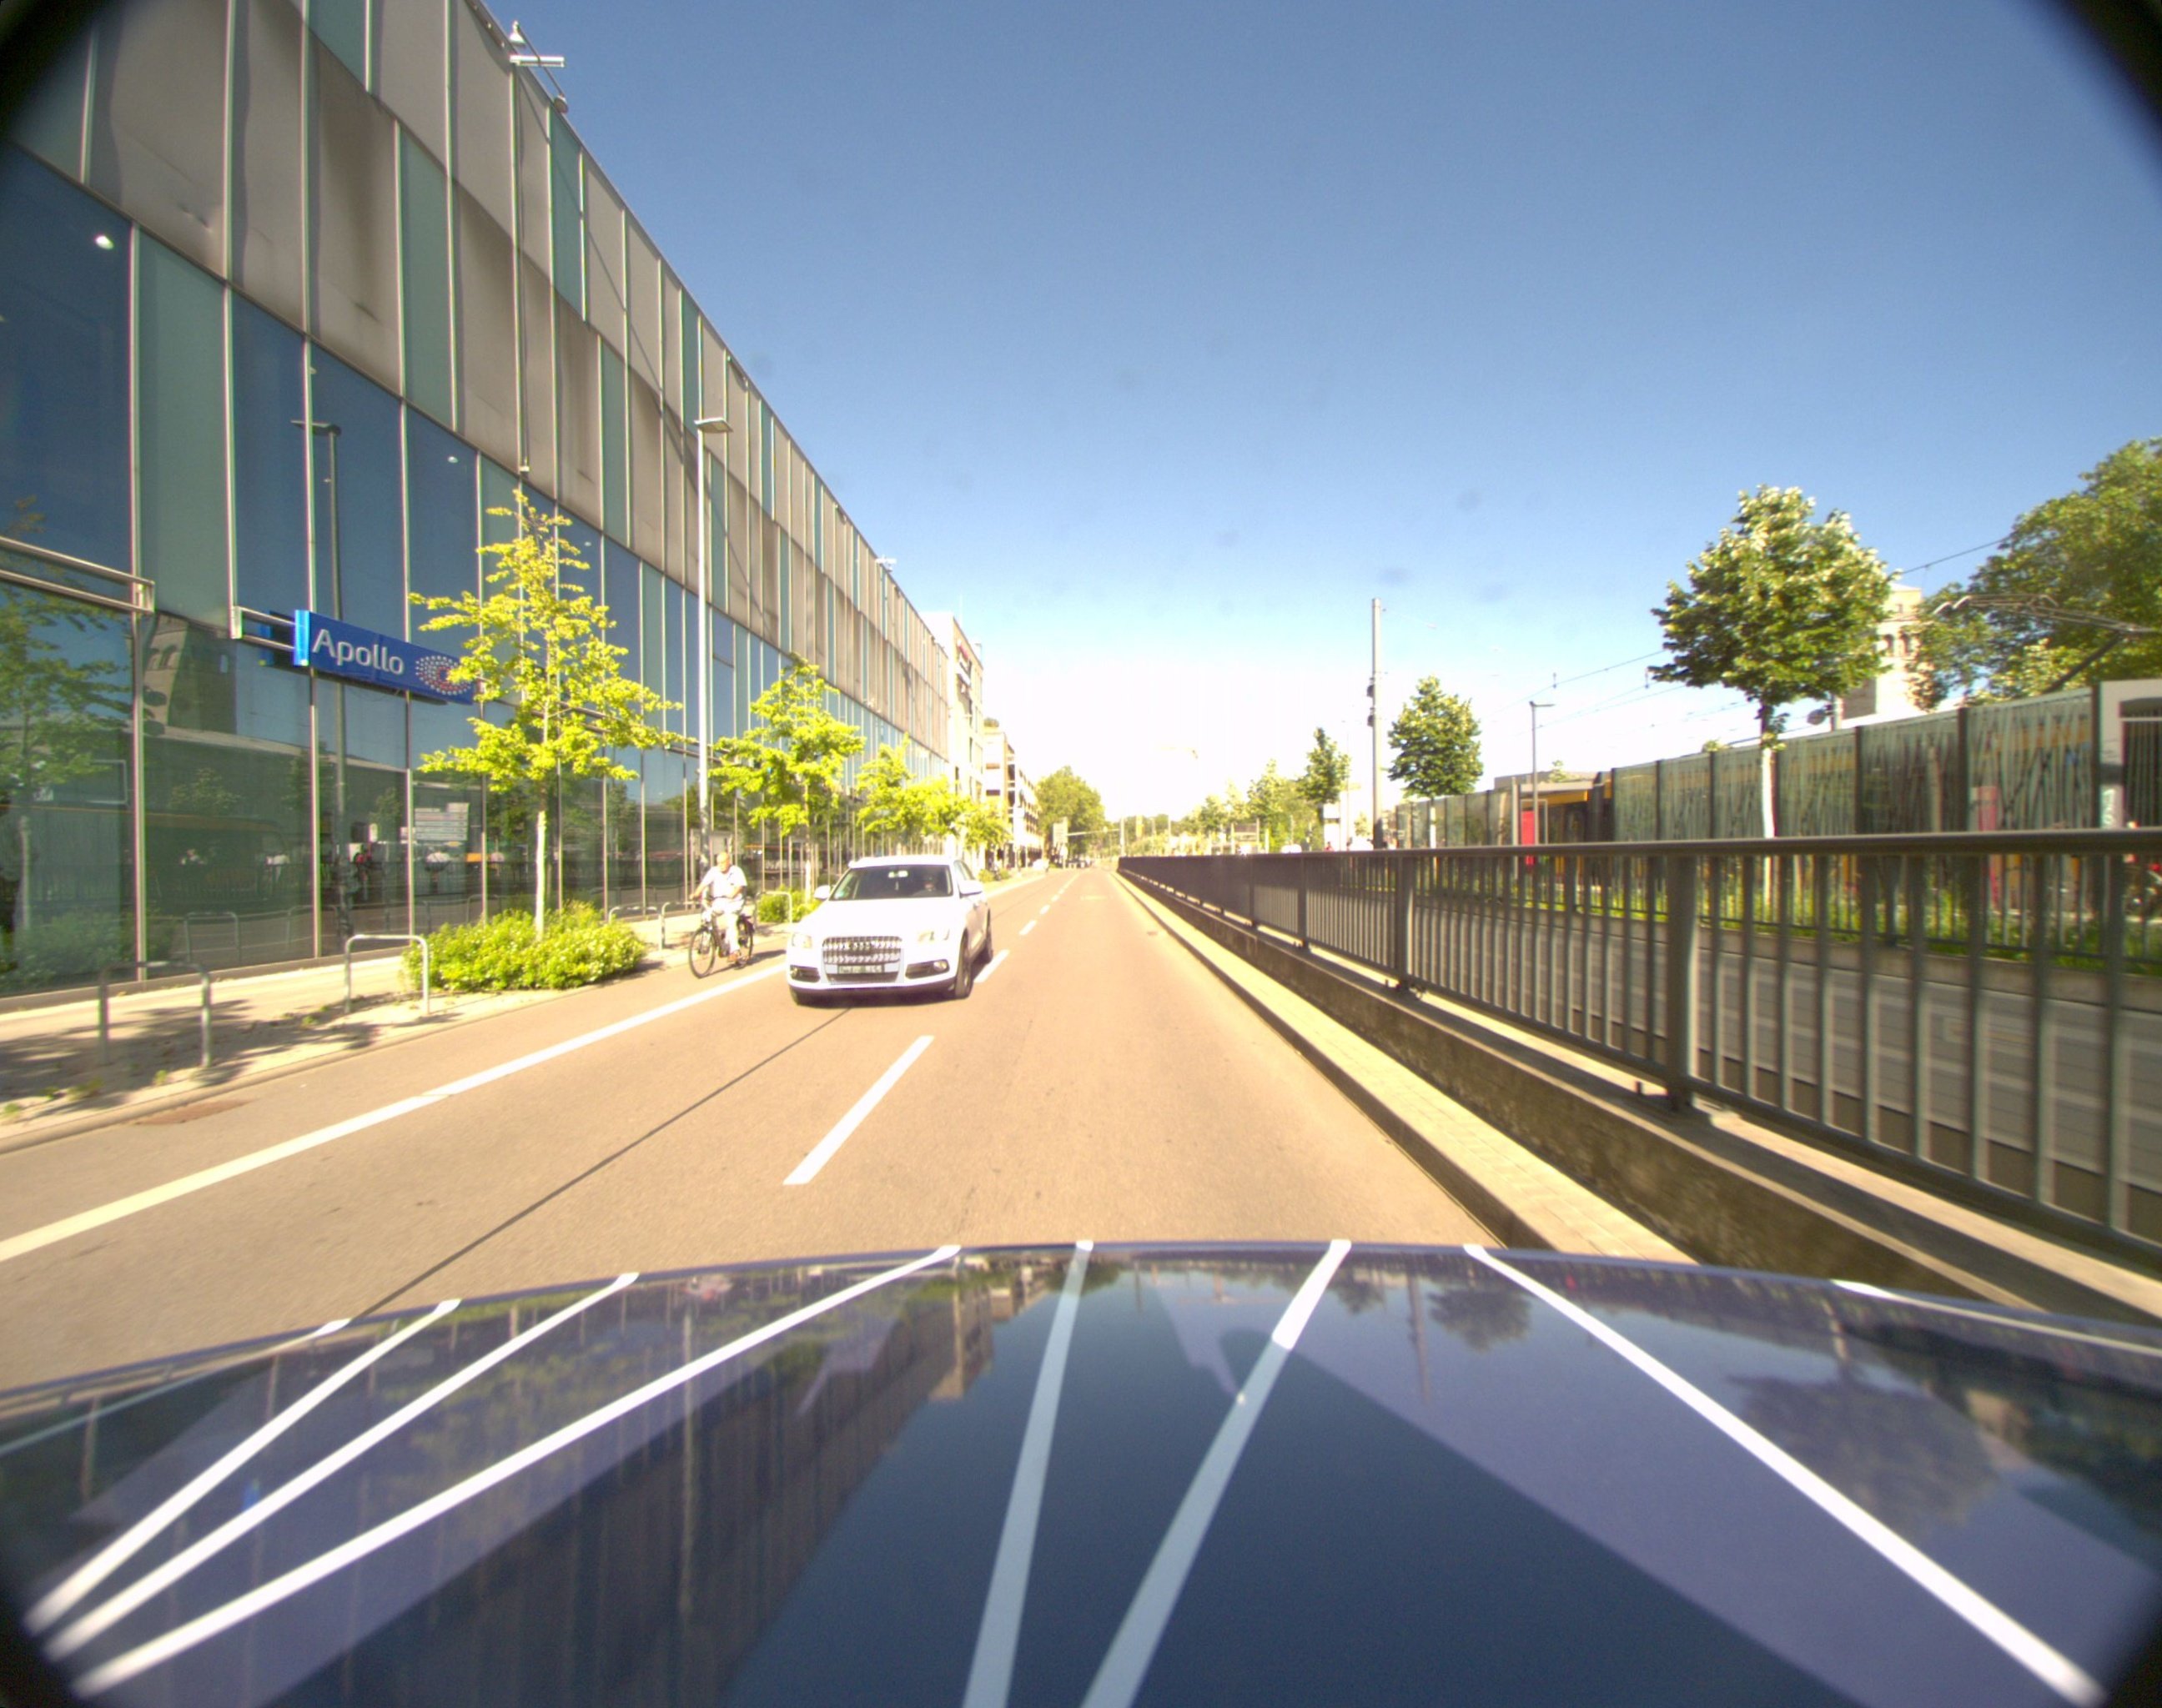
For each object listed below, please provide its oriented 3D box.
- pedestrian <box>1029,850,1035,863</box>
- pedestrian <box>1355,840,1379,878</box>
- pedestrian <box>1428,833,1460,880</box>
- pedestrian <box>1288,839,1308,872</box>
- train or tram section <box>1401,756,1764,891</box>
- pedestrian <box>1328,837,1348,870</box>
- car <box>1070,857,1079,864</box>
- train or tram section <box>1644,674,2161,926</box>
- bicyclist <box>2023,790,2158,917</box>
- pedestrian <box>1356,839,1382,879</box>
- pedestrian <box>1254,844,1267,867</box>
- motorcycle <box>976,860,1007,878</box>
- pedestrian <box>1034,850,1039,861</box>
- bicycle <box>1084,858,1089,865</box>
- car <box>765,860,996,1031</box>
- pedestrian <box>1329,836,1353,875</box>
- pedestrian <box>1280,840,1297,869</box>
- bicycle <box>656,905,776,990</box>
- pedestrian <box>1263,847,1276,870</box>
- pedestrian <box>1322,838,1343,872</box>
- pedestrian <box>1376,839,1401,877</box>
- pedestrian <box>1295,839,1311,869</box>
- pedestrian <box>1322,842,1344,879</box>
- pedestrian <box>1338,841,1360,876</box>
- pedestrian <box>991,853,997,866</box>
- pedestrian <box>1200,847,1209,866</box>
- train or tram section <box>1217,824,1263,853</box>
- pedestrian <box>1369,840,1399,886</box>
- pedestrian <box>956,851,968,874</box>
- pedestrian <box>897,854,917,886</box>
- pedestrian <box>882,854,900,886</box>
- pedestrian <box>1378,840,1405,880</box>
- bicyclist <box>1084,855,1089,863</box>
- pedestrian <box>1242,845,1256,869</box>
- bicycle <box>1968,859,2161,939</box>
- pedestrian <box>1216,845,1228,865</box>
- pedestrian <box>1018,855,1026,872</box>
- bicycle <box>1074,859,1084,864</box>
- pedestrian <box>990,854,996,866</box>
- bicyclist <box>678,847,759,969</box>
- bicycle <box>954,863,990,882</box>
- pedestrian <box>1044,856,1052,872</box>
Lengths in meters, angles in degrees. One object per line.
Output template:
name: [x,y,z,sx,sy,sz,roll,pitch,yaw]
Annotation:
pedestrian: [-7.971,0.370,123.152,0.950,2.002,1.078,-1,0,-9]
pedestrian: [12.428,0.219,33.028,0.743,1.619,0.861,-1,1,2]
pedestrian: [12.809,0.078,26.830,0.743,1.619,0.861,-1,1,2]
pedestrian: [12.359,0.082,43.330,0.889,1.840,1.007,-1,1,1]
train or tram section: [15.754,-0.756,26.617,2.877,3.260,15.186,-2,0,1]
pedestrian: [13.591,-0.020,40.195,0.743,1.684,0.861,-1,1,2]
car: [-1.268,1.262,150.562,1.752,1.481,4.560,1,0,2]
train or tram section: [15.400,-0.756,8.015,2.877,3.260,22.144,-2,0,1]
bicyclist: [12.413,-0.003,9.371,0.539,1.482,0.853,-1,1,1]
pedestrian: [11.804,0.213,31.145,0.743,1.619,0.861,-1,1,2]
pedestrian: [14.045,0.119,59.415,0.763,1.764,0.826,-2,0,-2]
motorcycle: [-6.708,1.133,57.185,2.193,1.316,0.903,0,1,5]
pedestrian: [-7.829,0.292,133.449,0.949,2.002,1.079,-1,0,-6]
bicycle: [0.922,1.280,125.513,0.844,1.123,2.553,-1,0,2]
car: [-2.237,0.923,9.757,1.824,1.604,4.411,-1,0,-1]
pedestrian: [11.149,0.072,32.568,0.743,1.619,0.861,-1,1,2]
pedestrian: [12.923,0.018,47.380,0.771,1.800,1.031,0,1,1]
bicycle: [-5.327,1.322,11.290,0.730,0.978,2.332,0,0,-2]
pedestrian: [12.597,0.317,50.836,0.649,1.503,0.588,-2,0,-2]
pedestrian: [12.206,0.053,36.902,0.743,1.619,0.861,-1,1,2]
pedestrian: [13.390,0.183,33.122,0.743,1.619,0.861,-1,1,2]
pedestrian: [13.773,-0.009,47.223,0.673,1.800,1.075,0,1,1]
pedestrian: [11.204,0.279,33.796,0.743,1.619,0.861,-1,1,2]
pedestrian: [12.436,0.208,35.270,0.743,1.619,0.947,-1,1,2]
pedestrian: [-11.060,0.734,96.672,0.662,1.603,0.526,1,1,-7]
pedestrian: [11.834,0.266,72.841,0.705,1.764,0.959,-2,0,-1]
train or tram section: [20.516,-1.897,99.205,2.855,3.302,15.966,-3,0,1]
pedestrian: [10.820,0.311,27.170,0.743,1.619,0.861,-1,1,2]
pedestrian: [-9.233,0.669,58.932,0.729,1.791,1.066,1,0,1]
pedestrian: [-9.043,0.819,39.576,0.823,1.648,0.900,-1,0,-3]
pedestrian: [-9.973,0.809,39.972,0.708,1.648,0.900,1,0,-3]
pedestrian: [12.725,0.231,31.165,0.743,1.619,0.861,-1,1,2]
bicyclist: [0.914,0.853,125.555,0.830,1.380,0.904,-1,0,2]
pedestrian: [12.676,0.247,57.424,0.793,1.764,0.979,-2,0,-2]
bicycle: [12.423,0.511,9.381,0.539,0.880,2.087,-1,0,1]
pedestrian: [13.010,0.119,70.111,0.876,1.764,1.189,-2,0,-1]
pedestrian: [-5.915,0.976,76.408,0.658,1.692,0.698,2,0,0]
bicycle: [-0.429,1.452,142.200,1.848,0.954,0.711,1,0,-3]
pedestrian: [-11.264,0.746,97.297,0.662,1.603,0.526,1,1,-7]
bicyclist: [-5.321,0.760,11.220,0.727,1.726,0.997,0,1,-2]
bicycle: [-6.921,1.169,48.323,2.089,1.198,0.951,1,1,8]
pedestrian: [-3.230,0.976,74.780,0.725,1.598,0.750,0,0,2]
